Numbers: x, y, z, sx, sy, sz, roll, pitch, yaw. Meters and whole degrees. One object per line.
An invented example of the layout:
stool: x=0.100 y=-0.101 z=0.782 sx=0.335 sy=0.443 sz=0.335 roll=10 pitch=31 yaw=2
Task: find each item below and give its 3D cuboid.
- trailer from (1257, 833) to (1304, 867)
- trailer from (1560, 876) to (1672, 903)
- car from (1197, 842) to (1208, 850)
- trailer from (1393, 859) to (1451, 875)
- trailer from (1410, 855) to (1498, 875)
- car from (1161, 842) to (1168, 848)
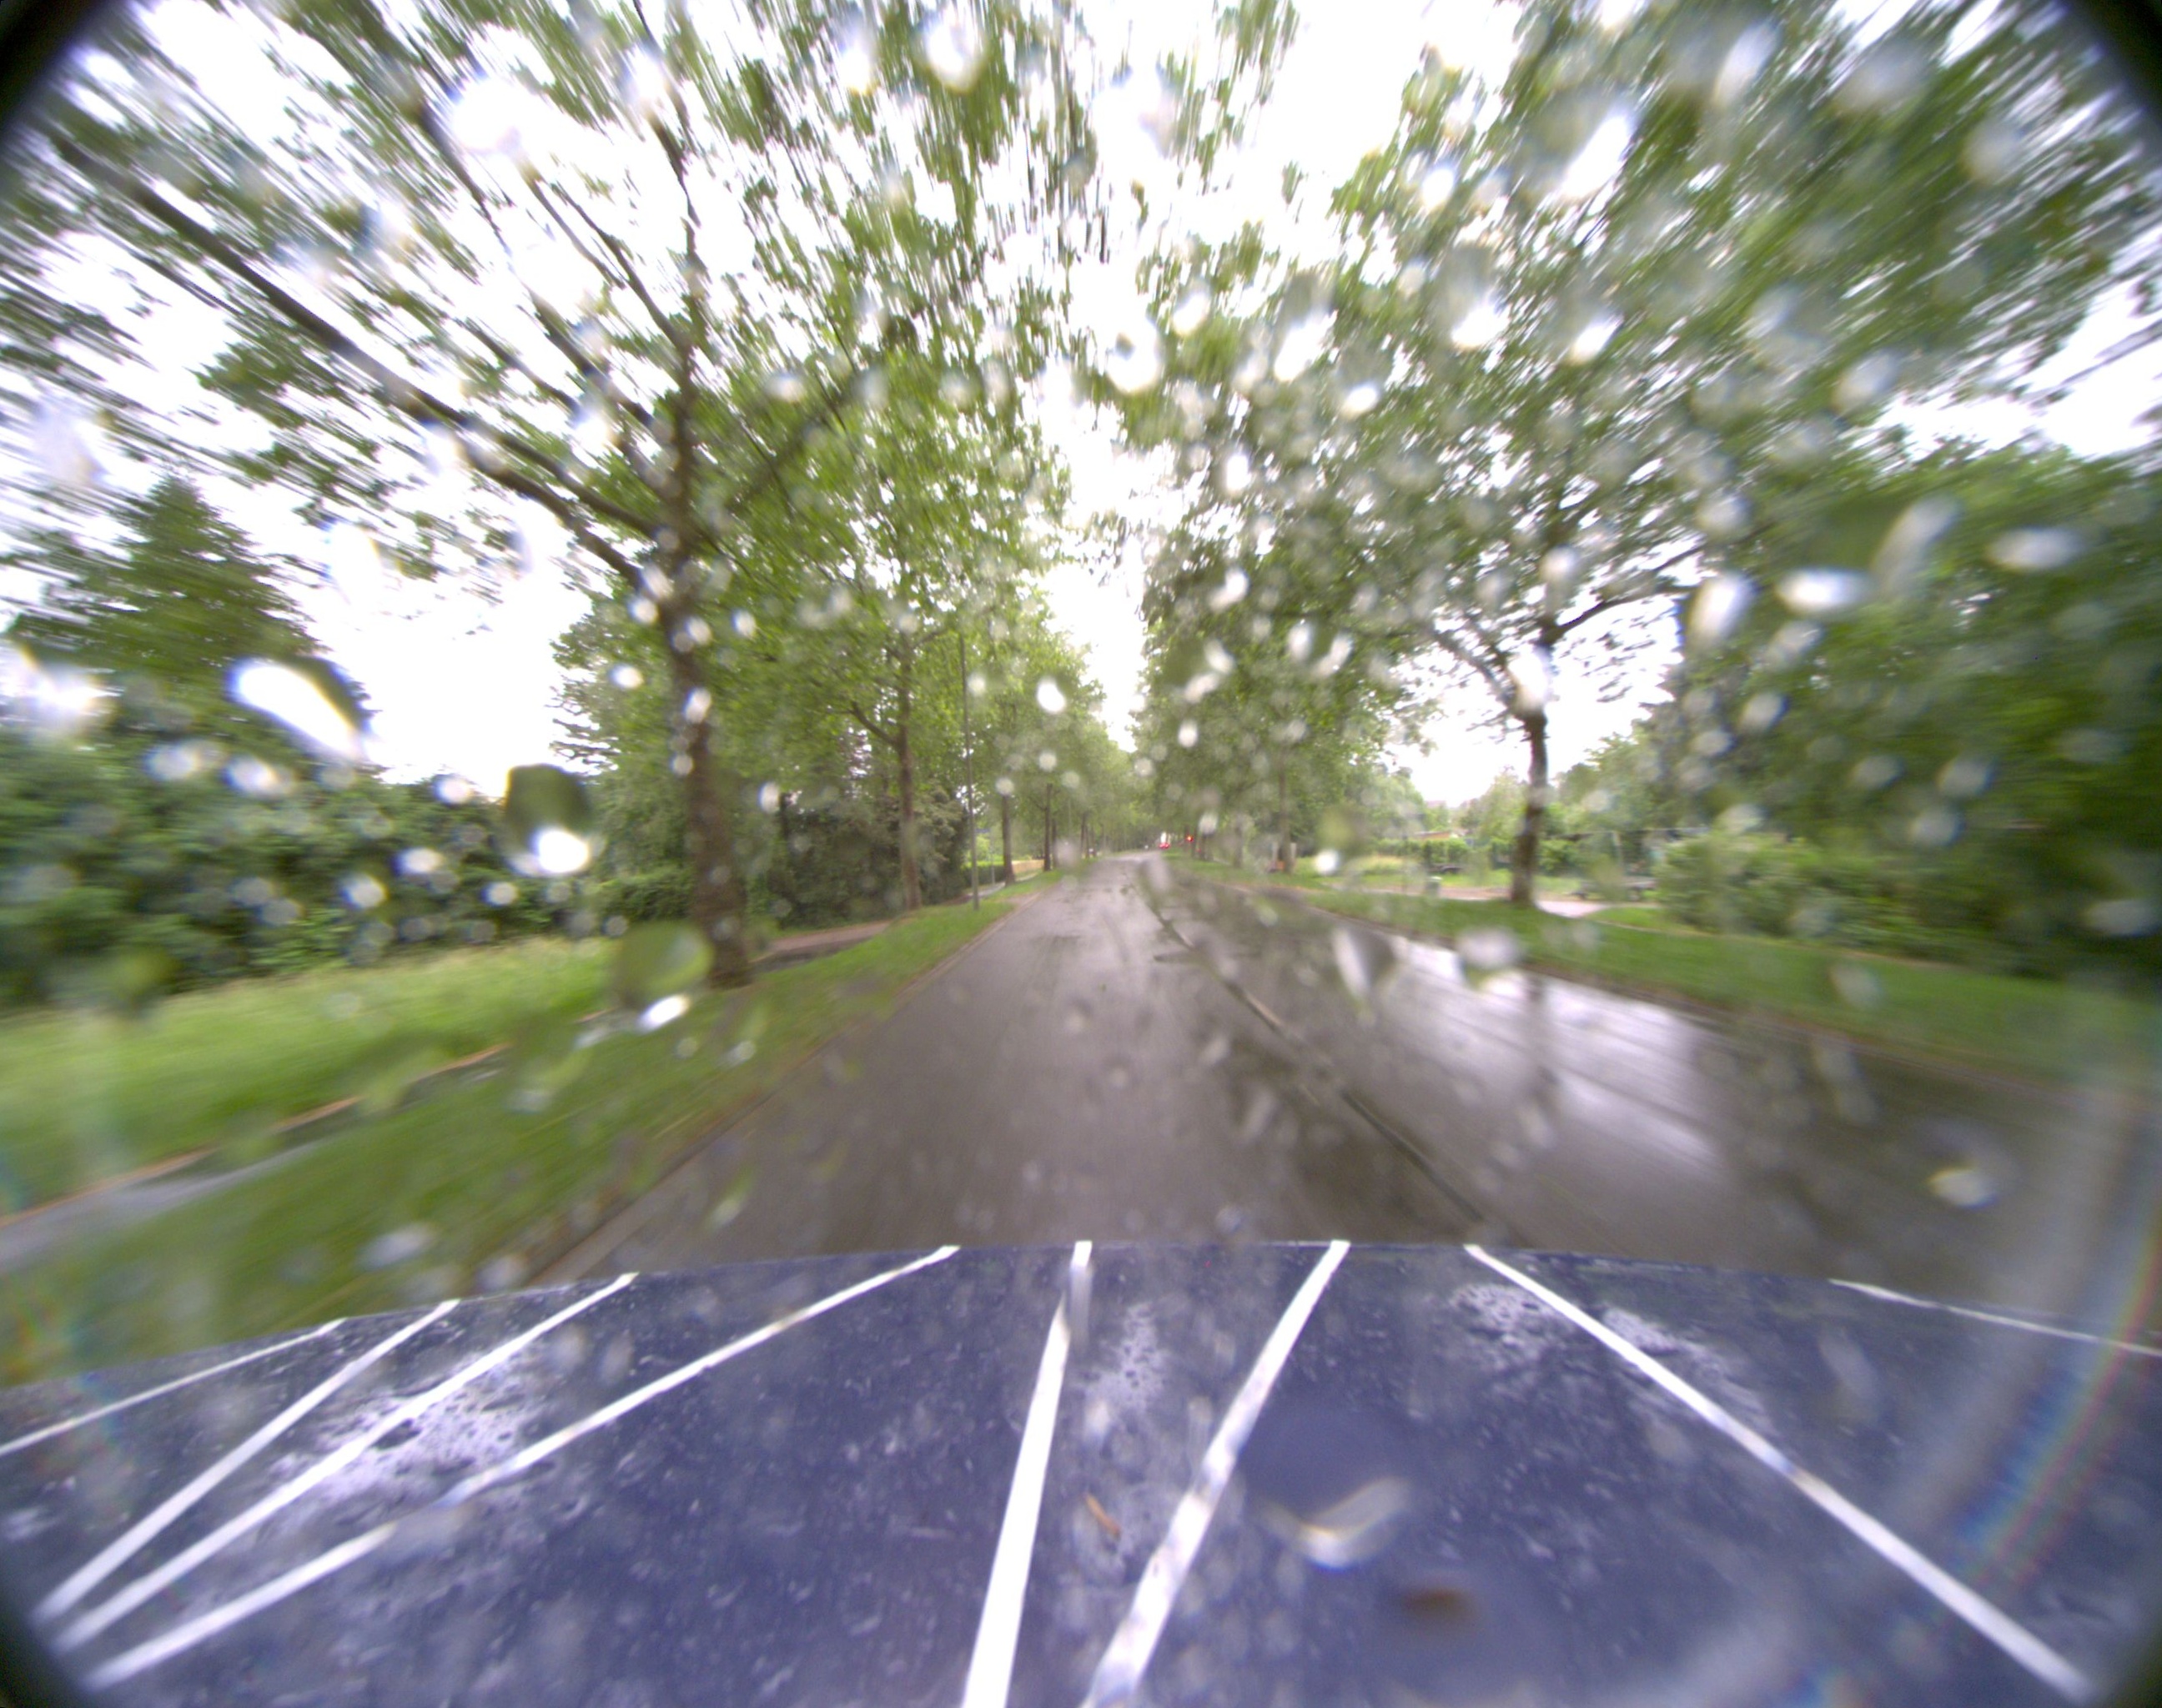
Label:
trailer: x=17.140 y=-0.412 z=65.773 sx=2.804 sy=2.648 sz=6.653 roll=-2 pitch=1 yaw=5
trailer: x=20.100 y=1.331 z=28.644 sx=3.035 sy=0.833 sz=1.678 roll=-2 pitch=2 yaw=6
car: x=25.982 y=-1.742 z=162.374 sx=1.896 sy=1.673 sz=4.004 roll=-1 pitch=2 yaw=17
trailer: x=22.755 y=0.851 z=50.746 sx=3.082 sy=0.939 sz=1.768 roll=-2 pitch=1 yaw=3
trailer: x=23.224 y=0.687 z=47.442 sx=4.327 sy=1.026 sz=2.382 roll=-2 pitch=1 yaw=2
car: x=21.280 y=-2.402 z=192.944 sx=1.593 sy=1.445 sz=3.373 roll=-2 pitch=1 yaw=3
